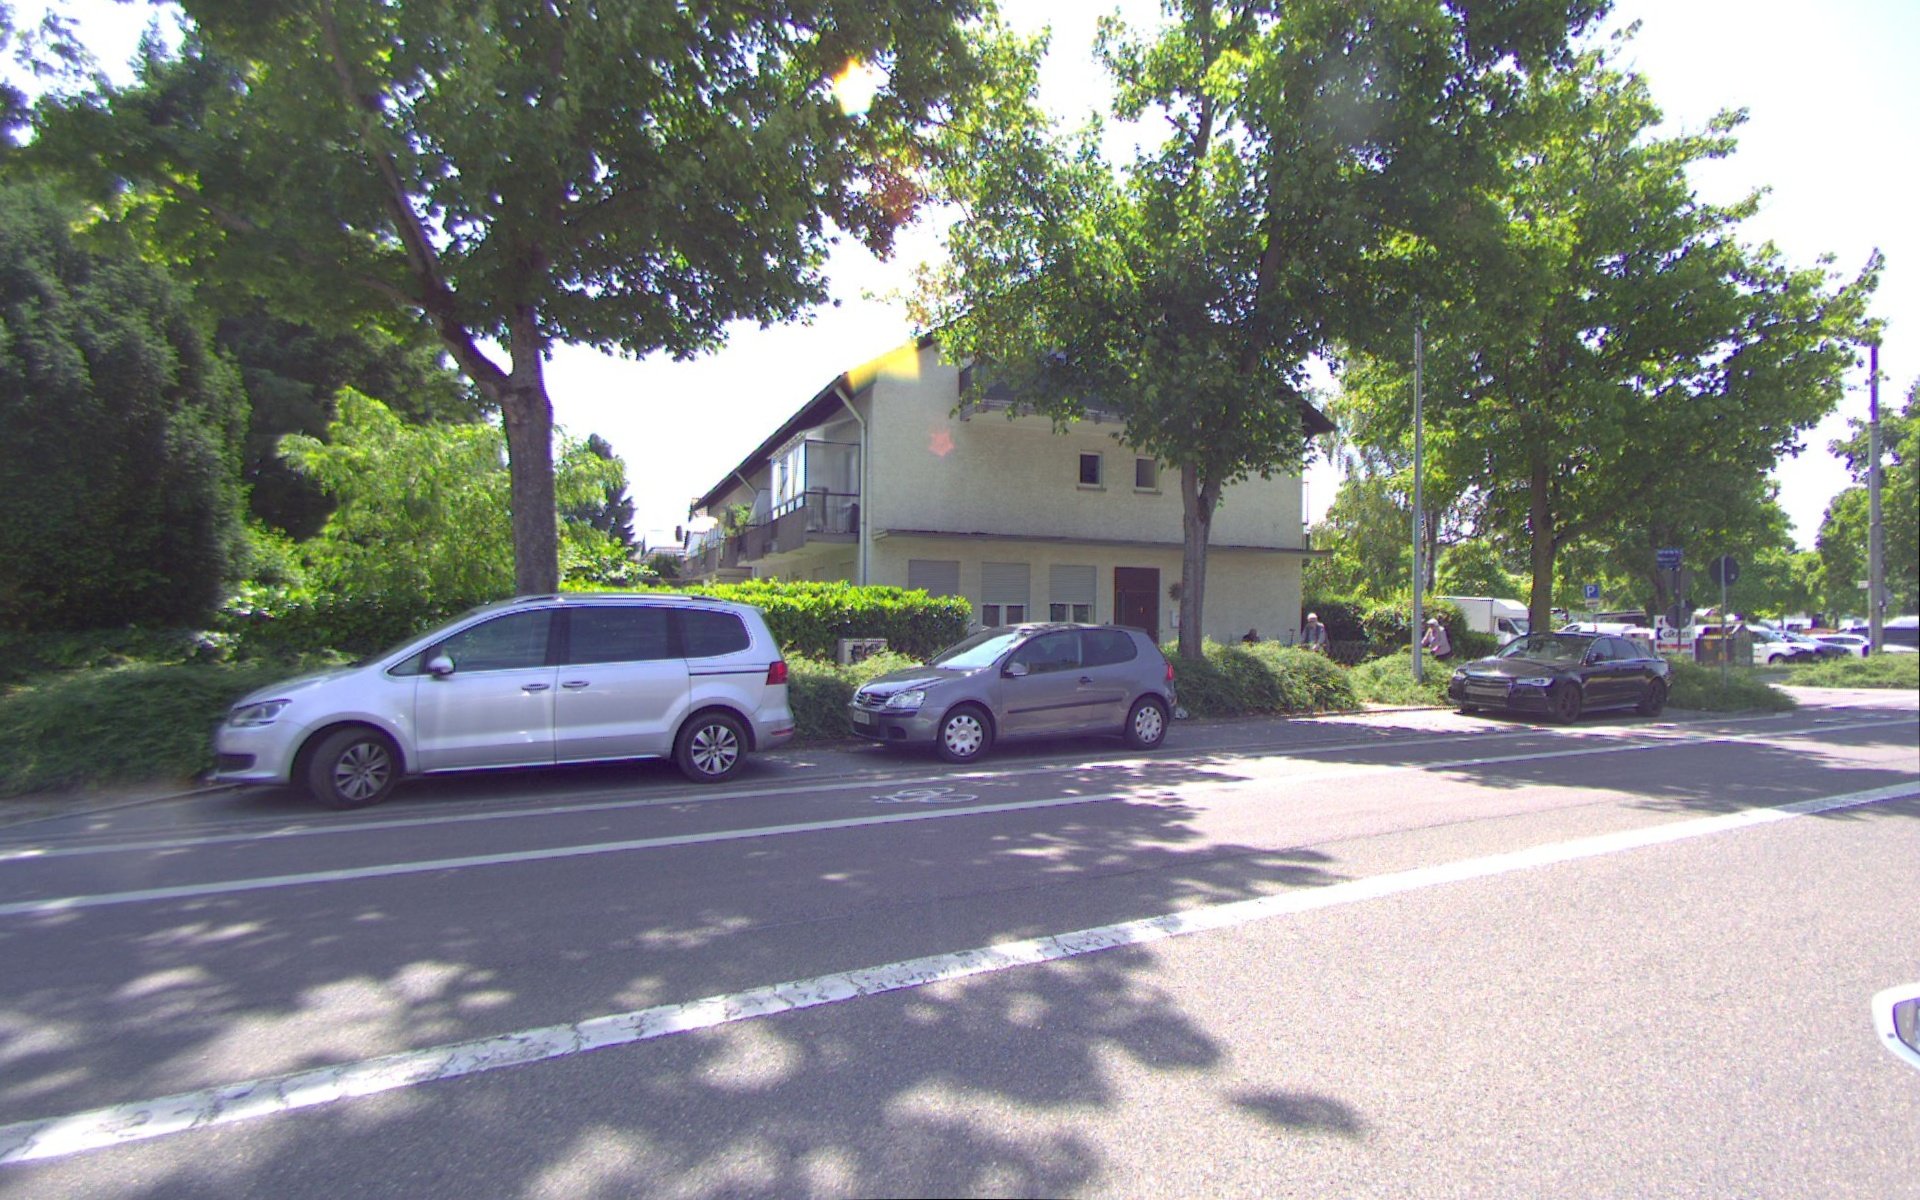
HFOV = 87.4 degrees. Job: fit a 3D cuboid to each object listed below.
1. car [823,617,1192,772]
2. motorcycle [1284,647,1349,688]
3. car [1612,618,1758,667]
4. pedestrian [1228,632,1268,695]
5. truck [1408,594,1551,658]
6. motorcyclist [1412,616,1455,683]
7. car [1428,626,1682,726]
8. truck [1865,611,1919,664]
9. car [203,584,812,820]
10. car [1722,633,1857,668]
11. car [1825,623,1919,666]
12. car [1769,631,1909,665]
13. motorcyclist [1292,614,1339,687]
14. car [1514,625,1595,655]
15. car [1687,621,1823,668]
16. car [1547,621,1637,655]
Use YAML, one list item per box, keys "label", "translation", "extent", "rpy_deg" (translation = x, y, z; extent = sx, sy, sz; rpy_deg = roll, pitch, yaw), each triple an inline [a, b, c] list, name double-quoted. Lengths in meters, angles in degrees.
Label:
- label: "car"
  translation: [0.616, 0.995, 11.772]
  extent: [4.080, 1.506, 1.668]
  rpy_deg: [1, 0, -31]
- label: "motorcycle"
  translation: [7.692, 1.443, 21.647]
  extent: [1.354, 0.837, 0.523]
  rpy_deg: [1, 2, -29]
- label: "car"
  translation: [29.379, 1.665, 40.828]
  extent: [2.040, 1.881, 4.421]
  rpy_deg: [1, -1, -34]
- label: "pedestrian"
  translation: [7.183, 1.568, 25.096]
  extent: [0.599, 1.530, 0.792]
  rpy_deg: [1, -1, -23]
- label: "truck"
  translation: [28.362, 1.351, 55.165]
  extent: [2.126, 3.270, 6.942]
  rpy_deg: [1, 0, -31]
- label: "motorcyclist"
  translation: [11.131, 1.155, 23.599]
  extent: [0.654, 1.523, 0.584]
  rpy_deg: [1, 2, -29]
- label: "car"
  translation: [10.463, 1.236, 17.558]
  extent: [4.757, 1.476, 1.883]
  rpy_deg: [1, 0, -33]
- label: "truck"
  translation: [52.298, 2.008, 53.575]
  extent: [2.402, 2.796, 5.556]
  rpy_deg: [1, -1, -28]
- label: "car"
  translation: [-3.895, 0.778, 9.257]
  extent: [4.630, 1.711, 1.962]
  rpy_deg: [1, 0, -29]
- label: "car"
  translation: [36.396, 2.179, 44.173]
  extent: [2.059, 1.422, 4.171]
  rpy_deg: [1, -1, -33]
- label: "car"
  translation: [45.537, 2.175, 49.378]
  extent: [1.835, 2.021, 4.189]
  rpy_deg: [1, -1, -30]
- label: "car"
  translation: [42.551, 2.275, 48.758]
  extent: [2.034, 1.508, 4.738]
  rpy_deg: [1, -1, -30]
- label: "motorcyclist"
  translation: [7.657, 1.075, 21.626]
  extent: [0.716, 1.523, 0.584]
  rpy_deg: [1, 2, -29]
- label: "car"
  translation: [34.865, 2.334, 58.991]
  extent: [1.712, 1.597, 3.729]
  rpy_deg: [1, -1, -30]
- label: "car"
  translation: [33.667, 1.846, 42.670]
  extent: [1.651, 1.860, 4.251]
  rpy_deg: [1, -1, -27]
- label: "car"
  translation: [37.275, 2.223, 59.323]
  extent: [1.948, 1.845, 4.108]
  rpy_deg: [2, -1, -30]
